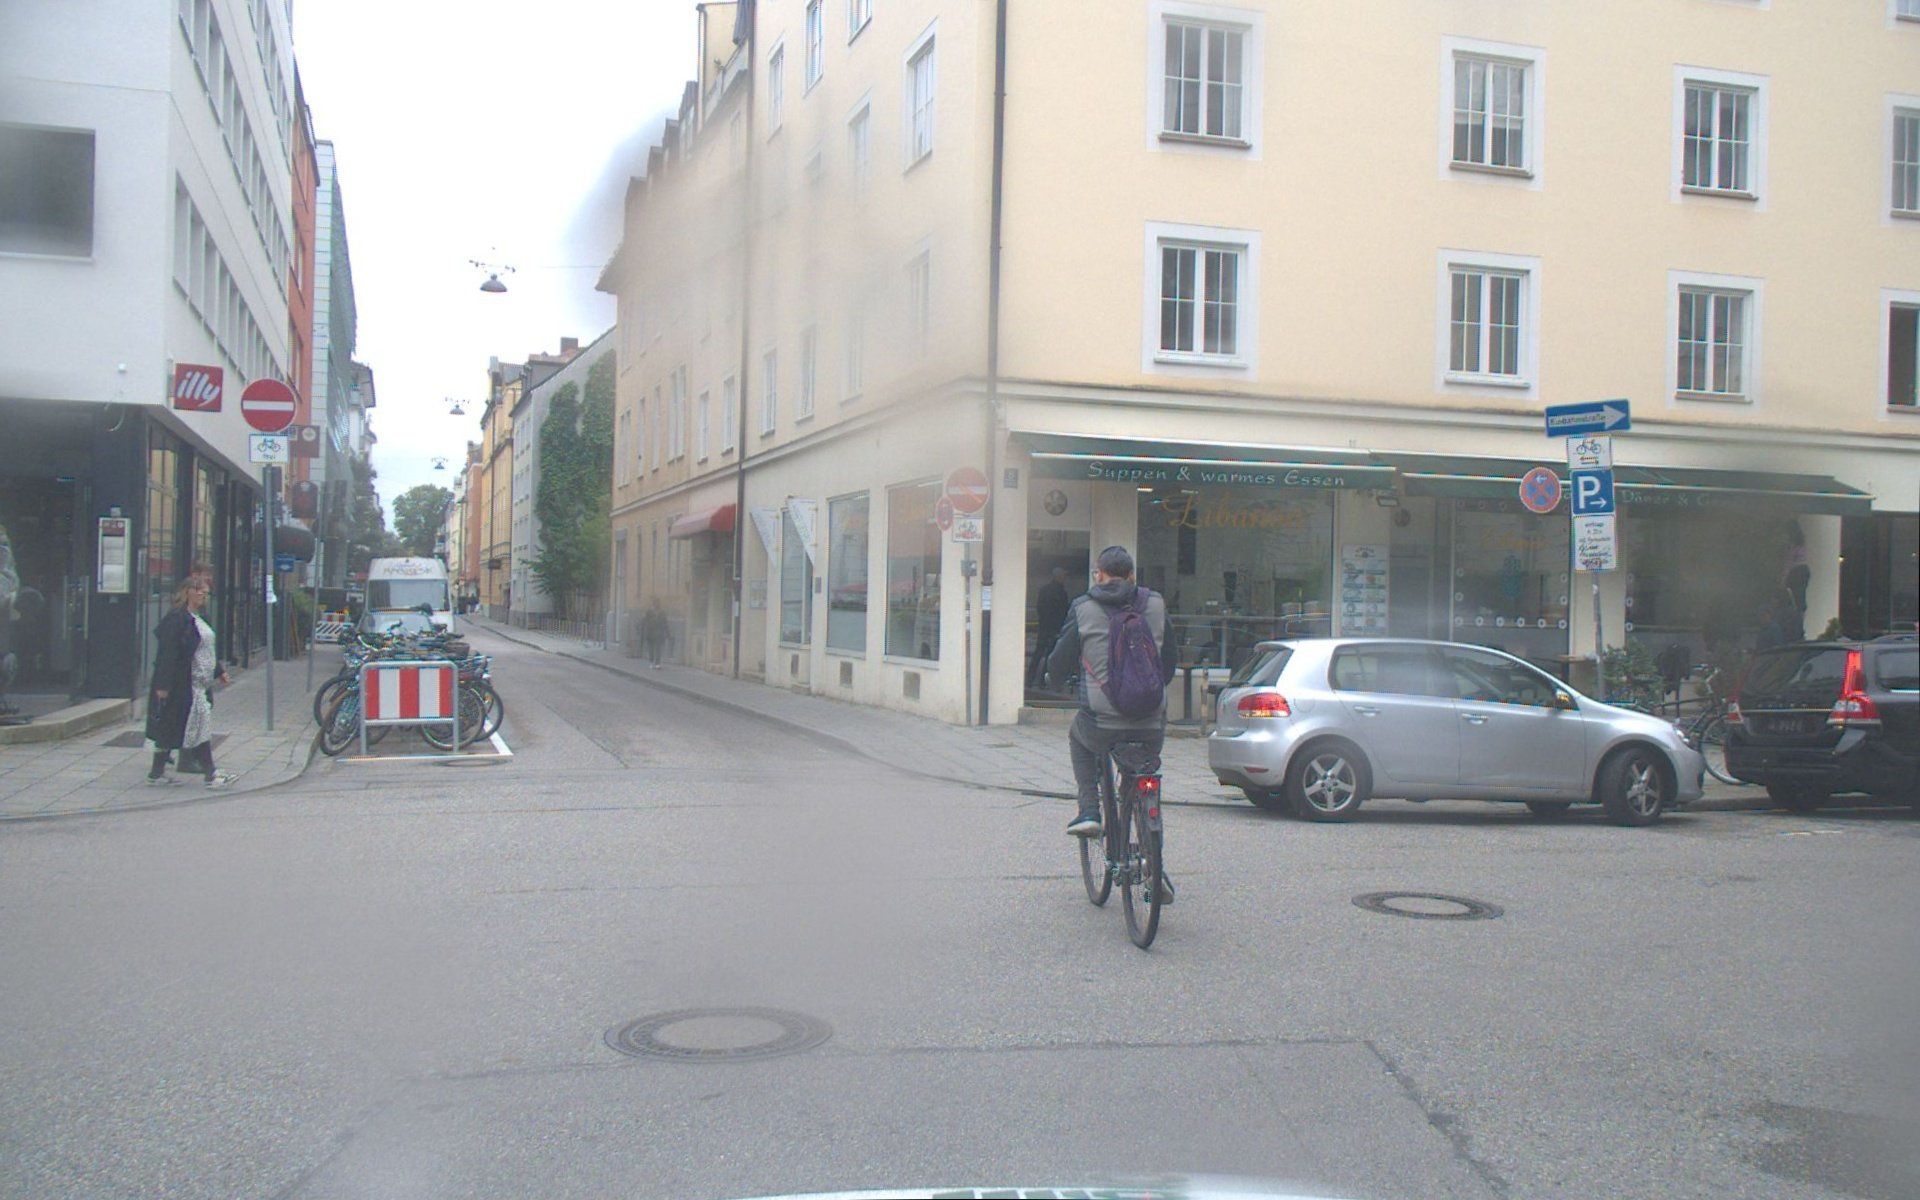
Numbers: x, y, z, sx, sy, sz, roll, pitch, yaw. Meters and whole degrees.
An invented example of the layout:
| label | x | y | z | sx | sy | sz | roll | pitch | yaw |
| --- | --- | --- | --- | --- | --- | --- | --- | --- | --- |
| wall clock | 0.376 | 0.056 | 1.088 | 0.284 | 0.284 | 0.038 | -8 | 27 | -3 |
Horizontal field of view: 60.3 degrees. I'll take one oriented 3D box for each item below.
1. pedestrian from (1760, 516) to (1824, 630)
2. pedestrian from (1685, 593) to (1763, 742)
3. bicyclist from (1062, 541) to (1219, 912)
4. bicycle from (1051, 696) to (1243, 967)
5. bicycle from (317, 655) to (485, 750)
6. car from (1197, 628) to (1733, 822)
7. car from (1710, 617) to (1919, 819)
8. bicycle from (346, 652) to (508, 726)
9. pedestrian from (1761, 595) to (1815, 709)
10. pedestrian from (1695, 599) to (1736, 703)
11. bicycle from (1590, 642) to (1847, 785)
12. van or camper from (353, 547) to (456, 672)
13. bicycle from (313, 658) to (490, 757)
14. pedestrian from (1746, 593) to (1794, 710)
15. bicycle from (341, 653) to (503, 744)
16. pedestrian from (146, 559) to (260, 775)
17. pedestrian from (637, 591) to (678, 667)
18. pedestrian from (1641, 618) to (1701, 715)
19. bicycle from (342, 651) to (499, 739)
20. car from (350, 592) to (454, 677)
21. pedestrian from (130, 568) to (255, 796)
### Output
| label | x | y | z | sx | sy | sz | roll | pitch | yaw |
| --- | --- | --- | --- | --- | --- | --- | --- | --- | --- |
| pedestrian | 12.044 | -0.385 | 23.948 | 0.543 | 1.602 | 0.575 | 3 | -1 | -16 |
| pedestrian | 9.112 | 0.801 | 19.725 | 0.592 | 1.731 | 0.541 | 1 | 1 | -15 |
| bicyclist | 0.823 | 0.557 | 7.684 | 0.594 | 1.635 | 0.757 | 1 | 0 | -3 |
| bicycle | 0.818 | 1.005 | 7.629 | 0.626 | 1.022 | 1.573 | 1 | 0 | -3 |
| bicycle | -6.123 | 1.113 | 18.120 | 1.712 | 0.985 | 0.540 | 1 | 0 | -22 |
| car | 4.114 | 1.047 | 13.870 | 3.909 | 1.441 | 1.818 | 1 | -4 | -5 |
| car | 9.102 | 1.030 | 14.768 | 4.266 | 1.620 | 1.812 | 2 | -2 | -17 |
| bicycle | -6.672 | 1.109 | 20.723 | 1.884 | 0.878 | 0.614 | 1 | 0 | -23 |
| pedestrian | 11.641 | 0.719 | 23.263 | 0.429 | 1.578 | 0.529 | 1 | 0 | -34 |
| pedestrian | 10.804 | 0.725 | 23.655 | 0.501 | 1.458 | 0.582 | 1 | 0 | 25 |
| bicycle | 7.477 | 1.110 | 16.351 | 2.048 | 1.275 | 1.102 | 2 | 0 | -15 |
| van or camper | -12.354 | 0.201 | 37.030 | 1.961 | 2.584 | 4.738 | 1 | 0 | -16 |
| bicycle | -5.897 | 1.119 | 17.473 | 1.730 | 0.985 | 0.591 | 1 | 0 | -22 |
| pedestrian | 11.066 | 0.692 | 22.594 | 0.545 | 1.564 | 0.434 | 2 | 1 | 28 |
| bicycle | -6.126 | 1.110 | 18.838 | 1.712 | 0.985 | 0.540 | 1 | 0 | -22 |
| pedestrian | -6.632 | 0.580 | 14.484 | 0.769 | 1.814 | 0.613 | 3 | 1 | -31 |
| pedestrian | -7.278 | 0.699 | 39.818 | 0.864 | 1.809 | 0.770 | 1 | 0 | -18 |
| pedestrian | 9.892 | 0.916 | 23.018 | 0.508 | 1.319 | 0.575 | 1 | -1 | -37 |
| bicycle | -6.337 | 1.100 | 19.426 | 1.712 | 0.985 | 0.540 | 1 | 0 | -22 |
| car | -10.911 | 0.633 | 32.497 | 1.804 | 1.562 | 3.980 | 1 | 0 | -18 |
| pedestrian | -6.326 | 0.660 | 13.624 | 0.782 | 1.776 | 0.764 | 3 | 1 | -31 |
